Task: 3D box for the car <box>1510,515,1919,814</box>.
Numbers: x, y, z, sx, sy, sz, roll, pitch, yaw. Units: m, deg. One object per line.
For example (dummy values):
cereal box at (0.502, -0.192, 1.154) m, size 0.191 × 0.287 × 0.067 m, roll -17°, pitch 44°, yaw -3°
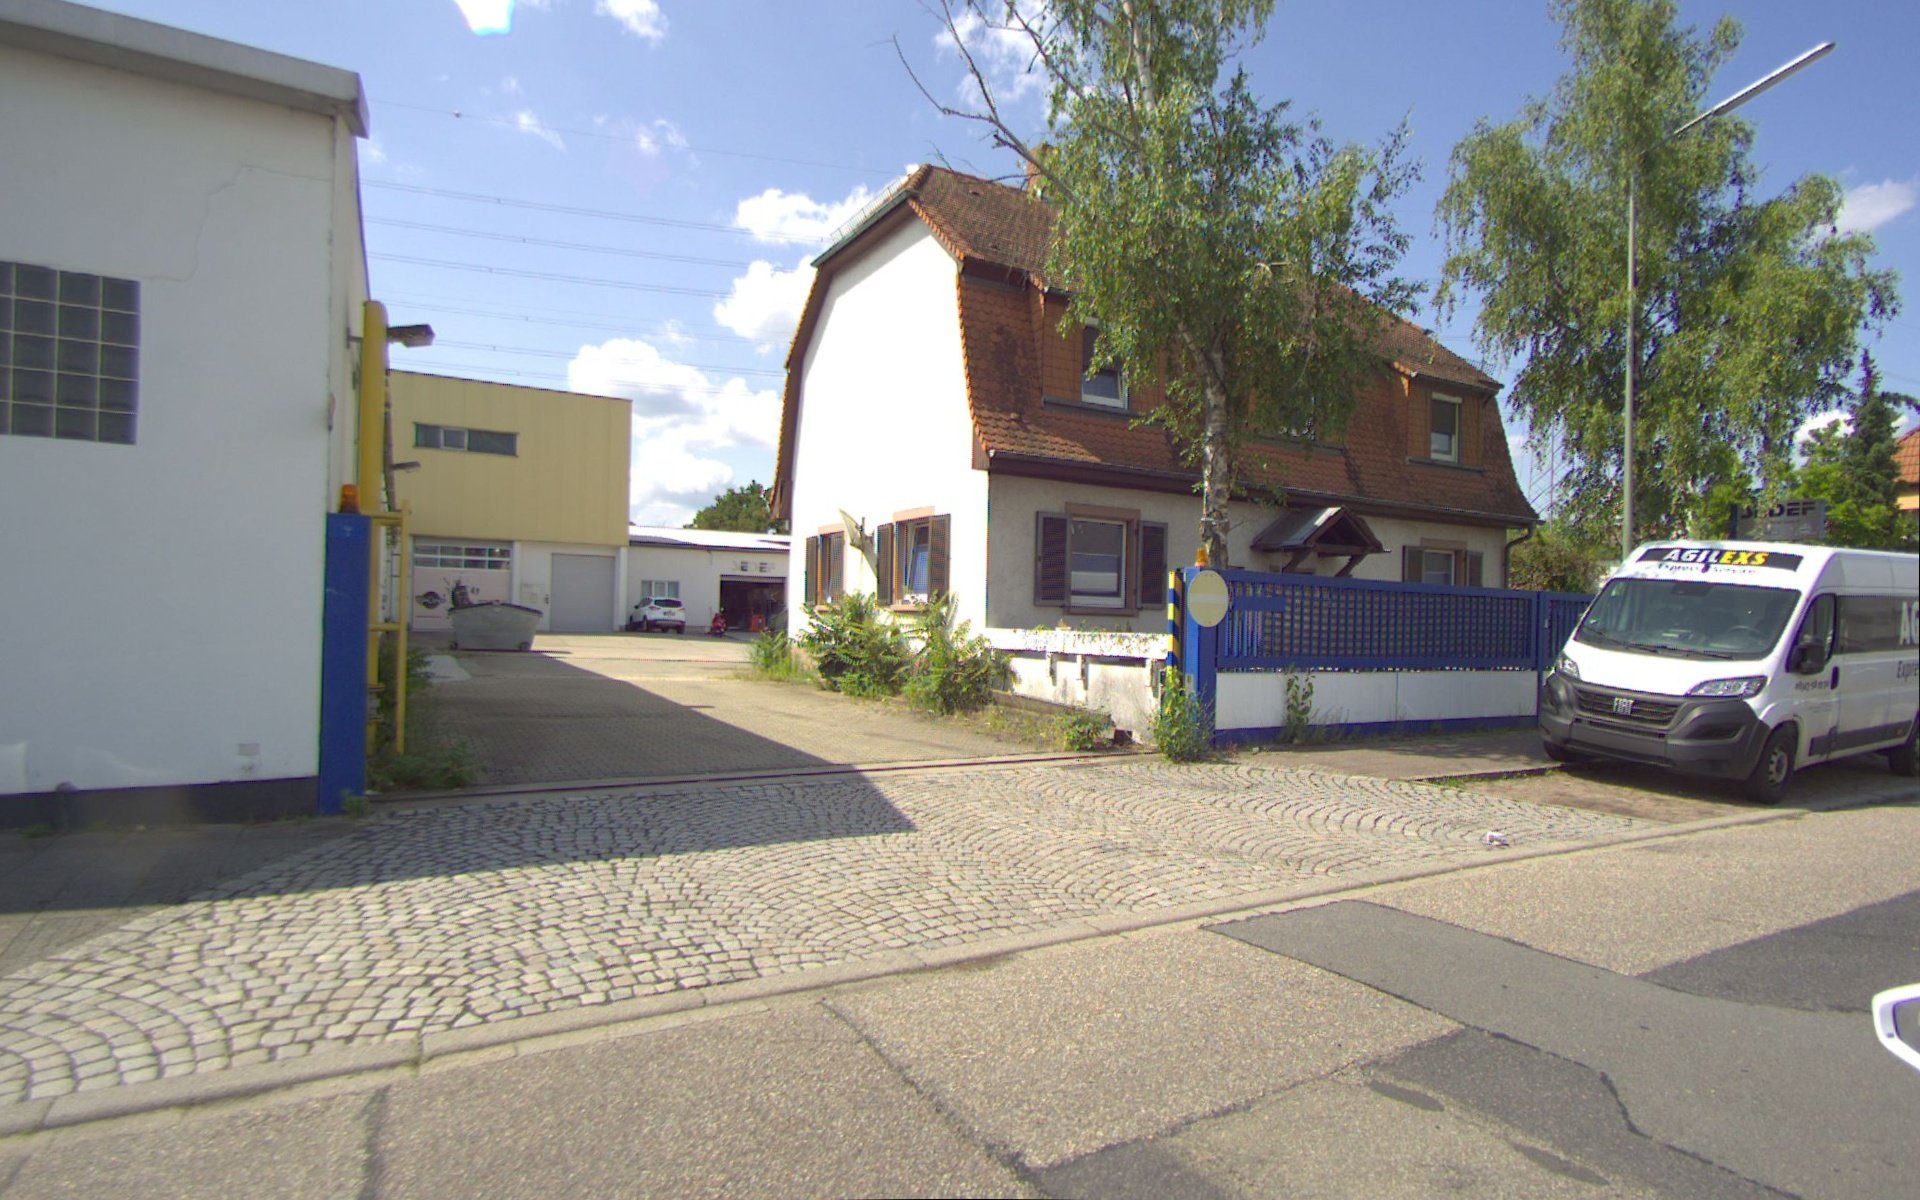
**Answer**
car at (9.081, 0.661, 11.316) m, size 6.584 × 2.591 × 2.018 m, roll 3°, pitch 1°, yaw -32°
